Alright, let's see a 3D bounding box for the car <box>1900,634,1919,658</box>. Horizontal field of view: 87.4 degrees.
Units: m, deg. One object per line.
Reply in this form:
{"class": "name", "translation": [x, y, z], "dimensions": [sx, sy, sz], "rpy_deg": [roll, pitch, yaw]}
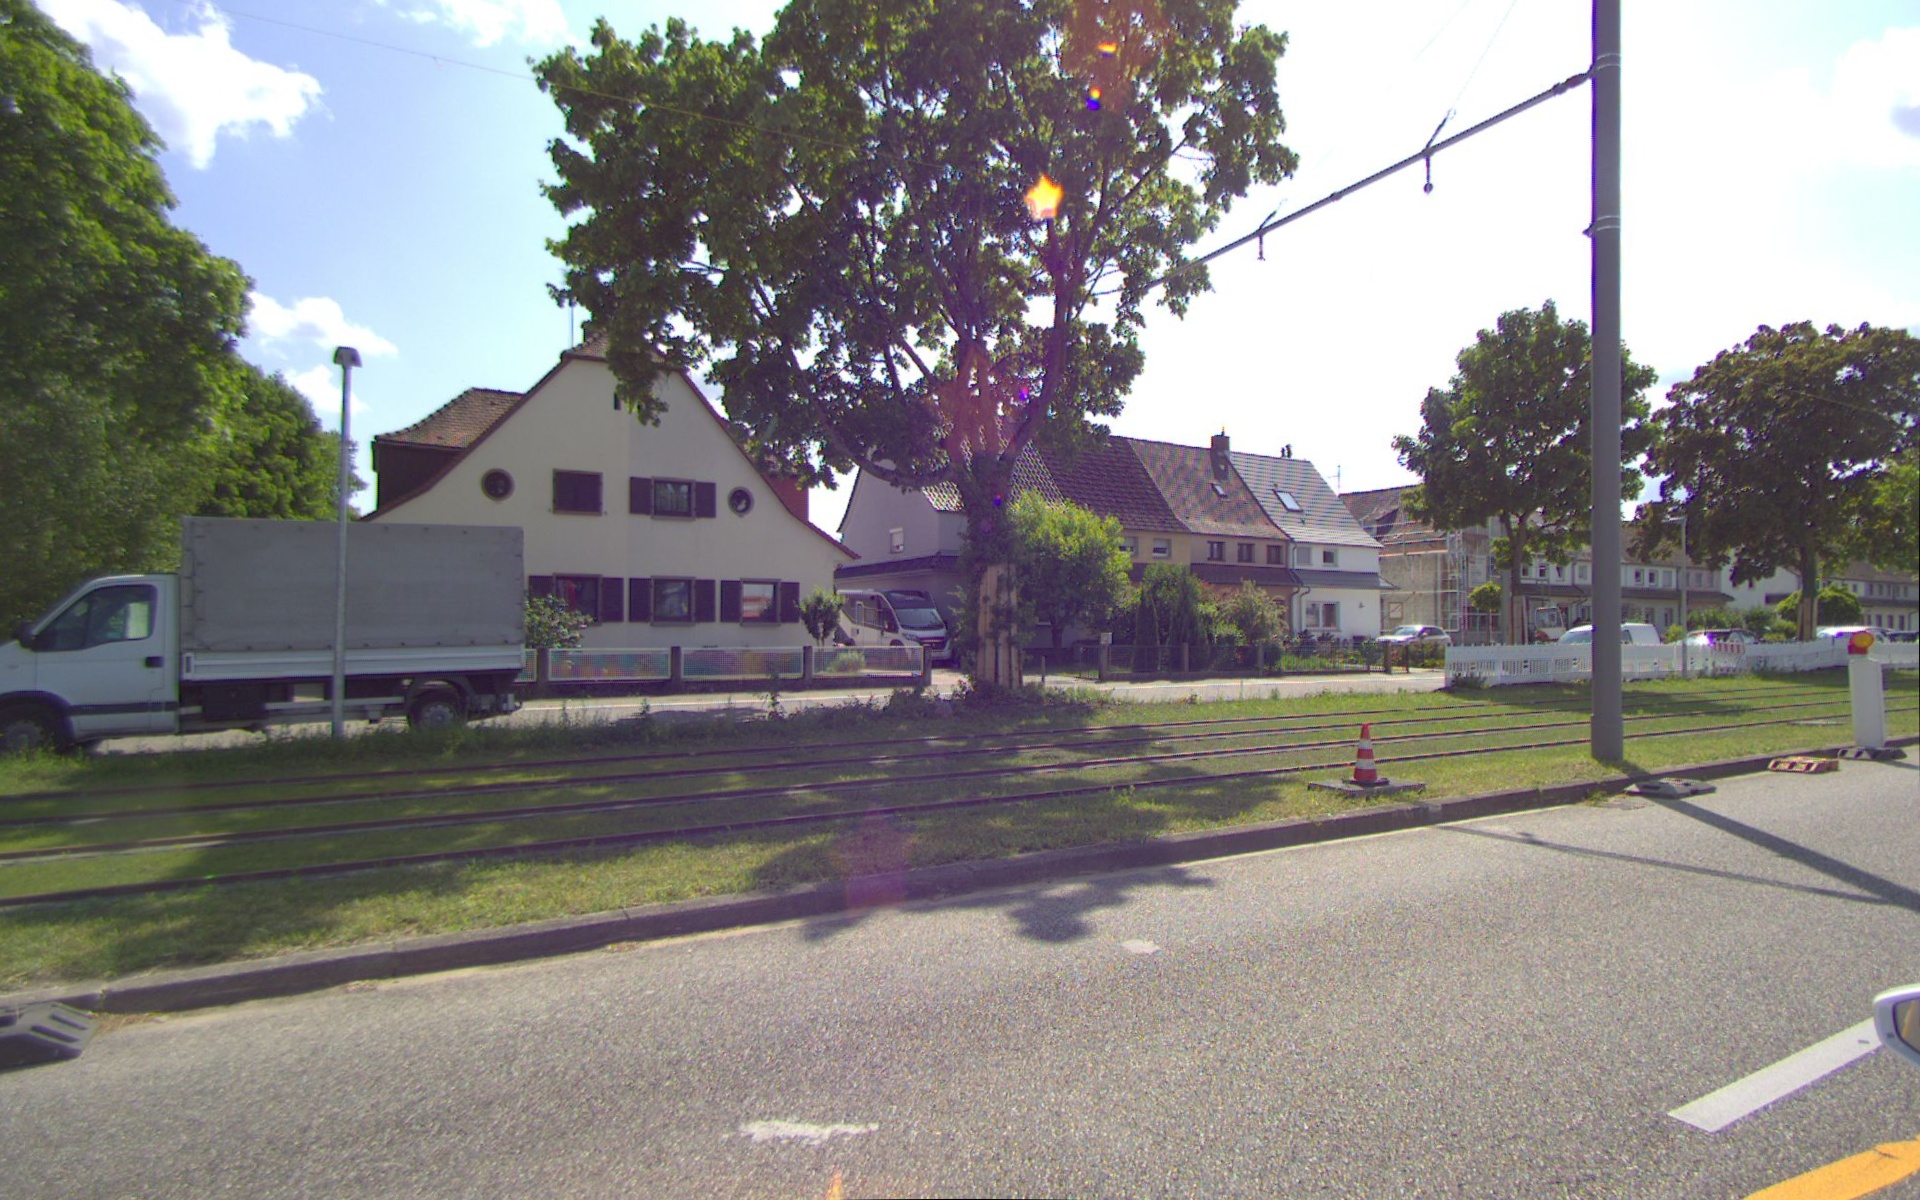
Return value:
{"class": "car", "translation": [70.033, 3.305, 72.746], "dimensions": [4.079, 1.745, 1.768], "rpy_deg": [1, -2, -30]}

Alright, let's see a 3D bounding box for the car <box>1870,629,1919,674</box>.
{"class": "car", "translation": [40.647, 2.165, 42.697], "dimensions": [4.079, 1.829, 1.768], "rpy_deg": [1, -2, -30]}

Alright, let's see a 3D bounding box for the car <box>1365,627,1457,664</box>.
{"class": "car", "translation": [19.991, 1.990, 44.497], "dimensions": [3.952, 1.539, 1.768], "rpy_deg": [1, -2, -30]}

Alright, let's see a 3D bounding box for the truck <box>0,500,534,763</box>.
{"class": "truck", "translation": [-8.835, 0.402, 12.973], "dimensions": [5.906, 2.817, 2.255], "rpy_deg": [1, -2, -31]}

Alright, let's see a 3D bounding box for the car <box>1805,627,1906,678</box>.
{"class": "car", "translation": [35.363, 2.031, 39.641], "dimensions": [4.079, 1.892, 1.768], "rpy_deg": [1, -2, -30]}

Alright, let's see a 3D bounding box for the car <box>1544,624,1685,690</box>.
{"class": "car", "translation": [19.575, 1.643, 30.019], "dimensions": [4.312, 1.845, 1.768], "rpy_deg": [1, -2, -30]}

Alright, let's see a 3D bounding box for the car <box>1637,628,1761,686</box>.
{"class": "car", "translation": [24.291, 1.822, 33.002], "dimensions": [4.177, 1.797, 1.768], "rpy_deg": [1, -2, -30]}

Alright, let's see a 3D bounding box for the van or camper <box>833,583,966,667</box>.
{"class": "van or camper", "translation": [-2.338, 0.935, 36.595], "dimensions": [2.269, 2.801, 6.051], "rpy_deg": [1, -2, -32]}
